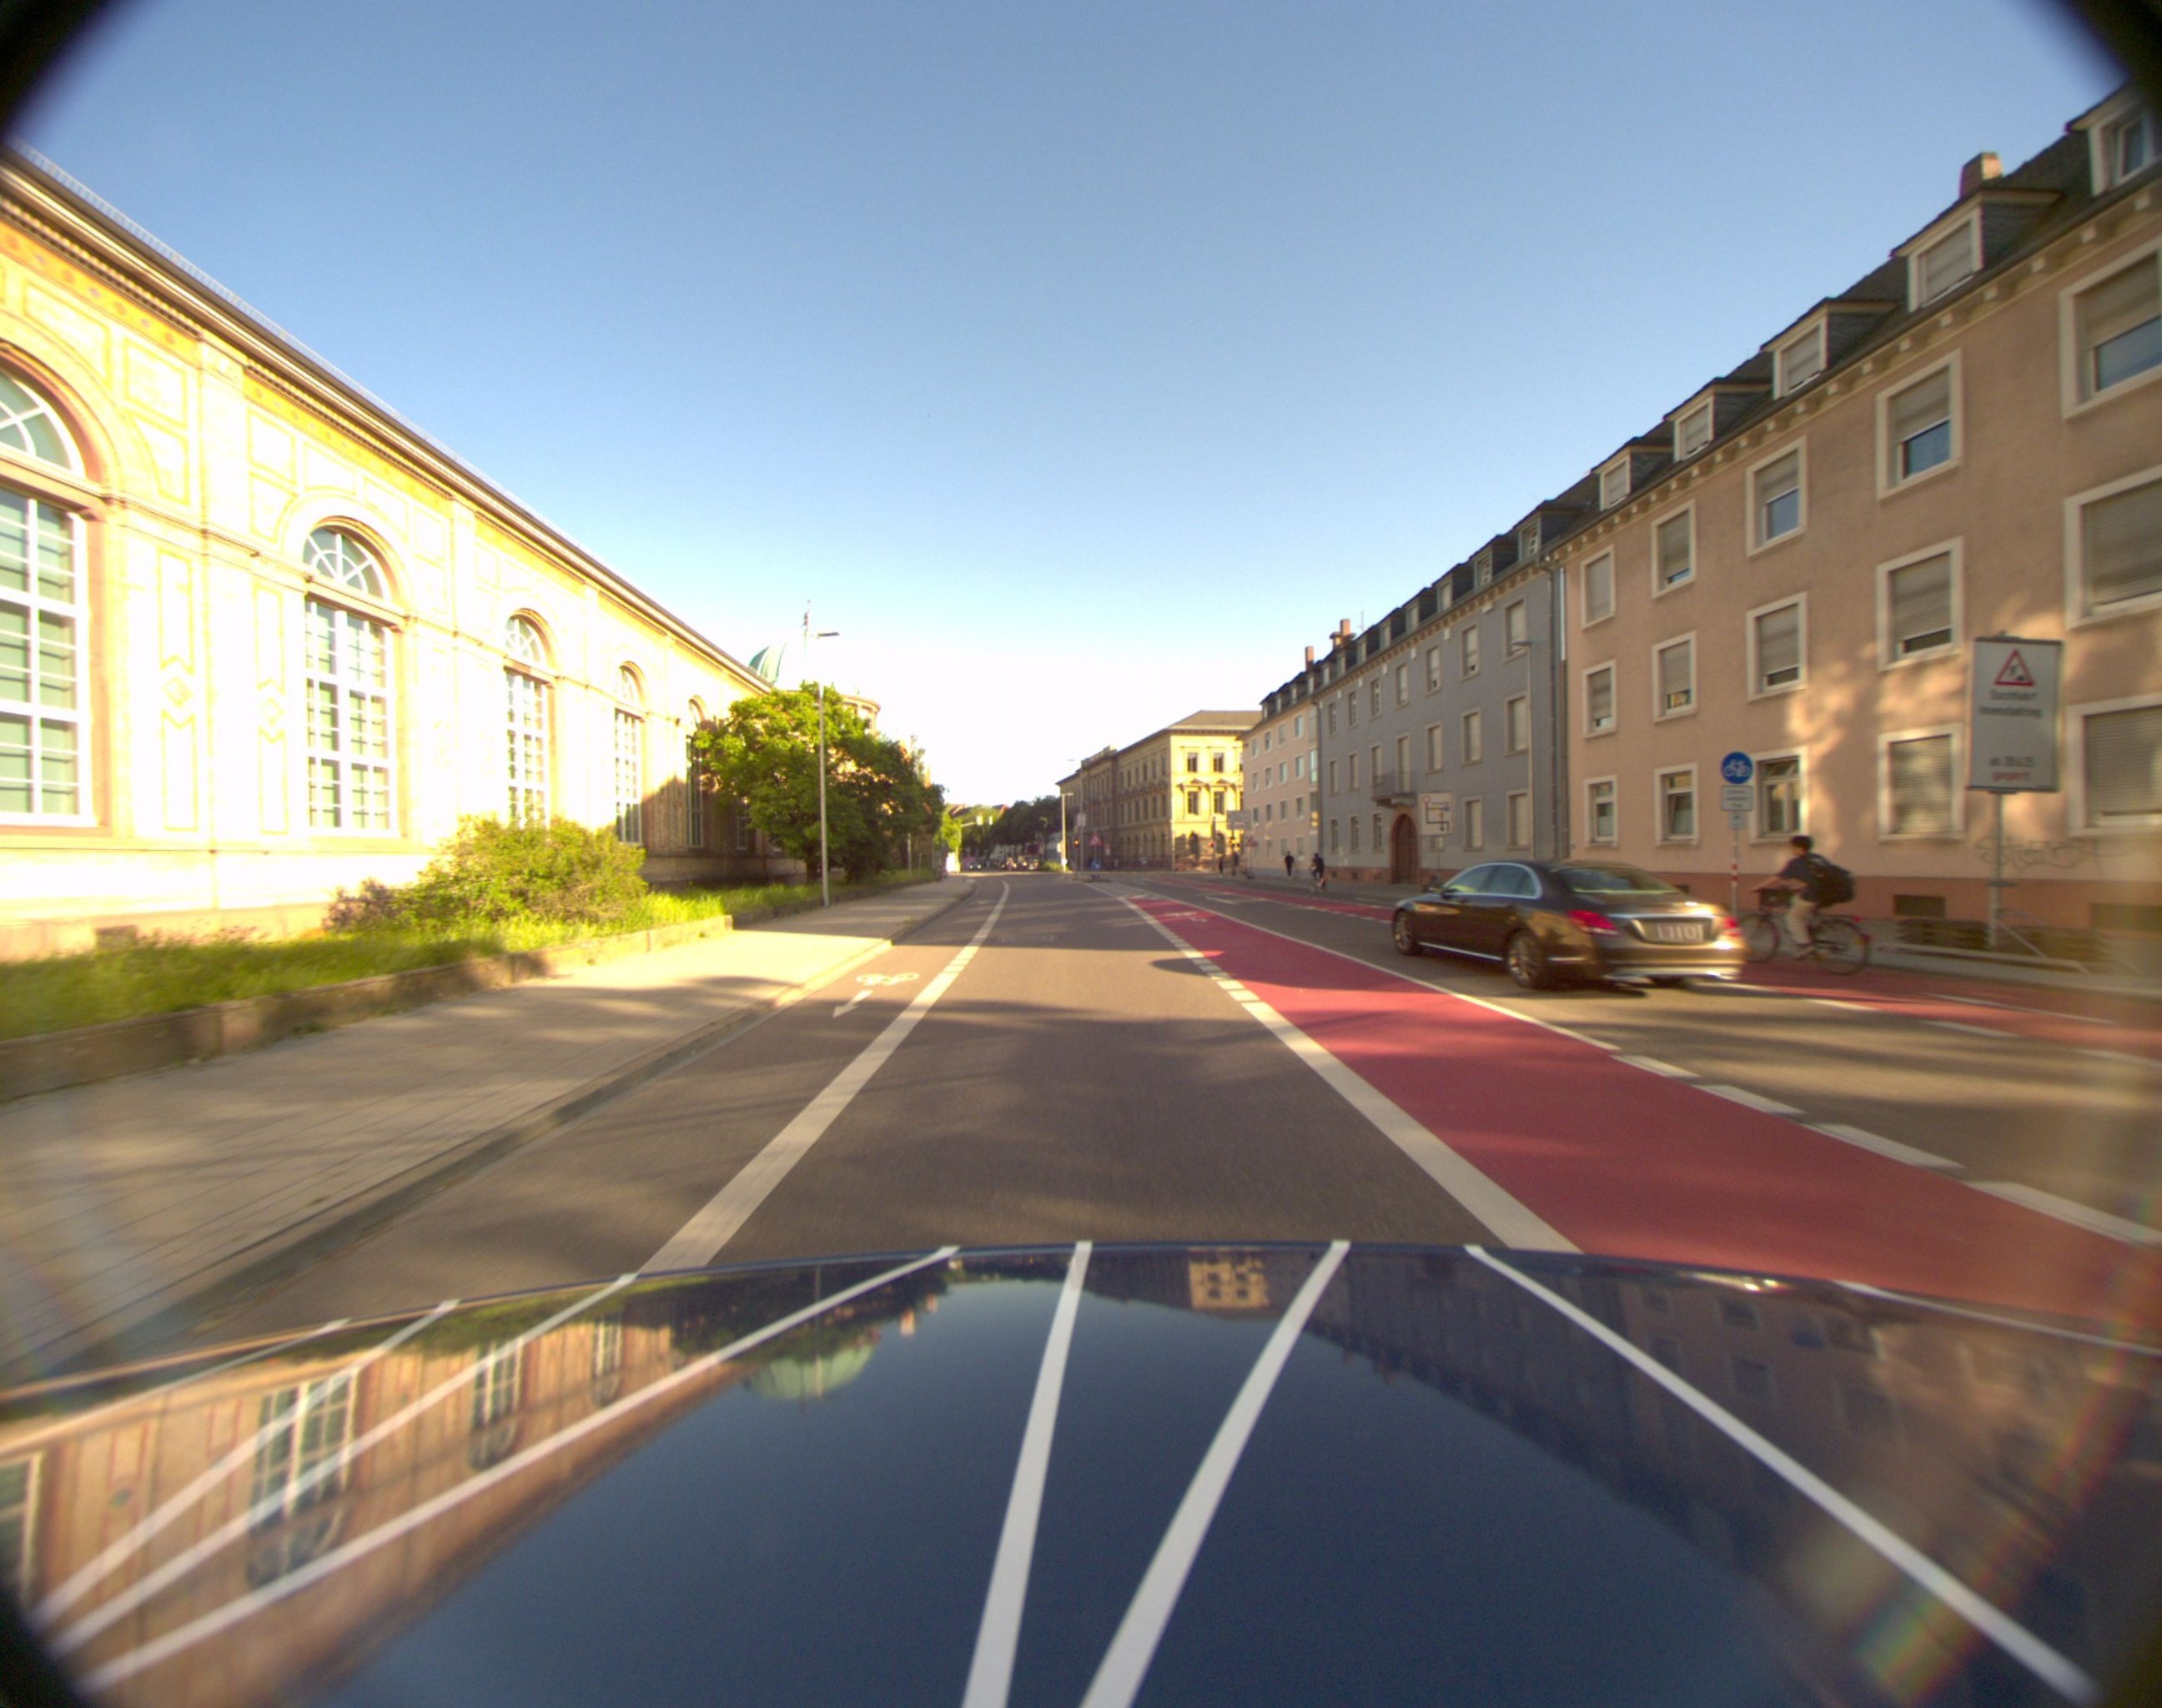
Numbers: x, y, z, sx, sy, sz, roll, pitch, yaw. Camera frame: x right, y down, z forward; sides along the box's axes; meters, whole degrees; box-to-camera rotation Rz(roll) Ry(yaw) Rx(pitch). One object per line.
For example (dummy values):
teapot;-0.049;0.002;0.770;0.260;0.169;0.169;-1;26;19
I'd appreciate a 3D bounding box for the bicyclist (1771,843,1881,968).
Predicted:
bicyclist;9.214;0.620;9.417;0.658;1.476;0.665;2;0;-2

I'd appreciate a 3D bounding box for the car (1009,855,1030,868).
car;-8.419;0.966;103.718;1.999;1.739;4.741;-1;0;-15

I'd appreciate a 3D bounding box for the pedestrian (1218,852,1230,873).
pedestrian;11.104;0.650;58.978;0.633;1.574;0.818;-4;1;-4

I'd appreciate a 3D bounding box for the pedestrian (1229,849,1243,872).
pedestrian;12.834;0.516;62.869;0.870;1.852;1.014;-3;0;-3

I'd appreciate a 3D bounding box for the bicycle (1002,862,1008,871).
bicycle;-10.206;1.673;101.697;0.671;1.066;1.751;-2;0;-11

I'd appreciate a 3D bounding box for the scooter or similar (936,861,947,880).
scooter or similar;-9.633;1.117;52.502;0.557;1.301;1.831;-1;0;-5

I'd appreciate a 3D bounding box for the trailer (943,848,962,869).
trailer;-15.574;0.549;91.790;2.087;2.513;4.487;1;0;-11

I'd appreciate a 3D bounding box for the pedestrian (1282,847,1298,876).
pedestrian;13.962;0.487;50.674;0.633;1.836;1.012;-4;1;-4

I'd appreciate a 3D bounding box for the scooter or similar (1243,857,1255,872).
scooter or similar;13.437;0.829;60.797;0.535;1.178;1.473;-2;0;-3

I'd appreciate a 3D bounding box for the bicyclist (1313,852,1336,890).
bicyclist;10.892;0.754;34.016;0.638;1.700;0.737;2;0;-17

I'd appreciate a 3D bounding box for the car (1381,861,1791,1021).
car;5.529;0.811;9.220;1.816;1.411;4.553;-1;0;-3

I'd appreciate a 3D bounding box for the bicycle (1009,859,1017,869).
bicycle;-8.239;1.228;91.788;0.831;1.136;1.968;-2;0;-10

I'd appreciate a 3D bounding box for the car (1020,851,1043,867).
car;-6.191;0.646;93.966;2.075;1.904;5.027;-1;1;-13

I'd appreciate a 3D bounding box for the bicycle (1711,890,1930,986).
bicycle;9.197;0.998;9.604;0.653;0.990;2.109;1;0;-2

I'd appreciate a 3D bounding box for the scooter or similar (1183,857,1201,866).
scooter or similar;12.711;0.879;87.052;2.033;1.046;0.456;-1;0;-8

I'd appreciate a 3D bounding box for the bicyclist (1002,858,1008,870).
bicyclist;-10.223;1.339;101.726;0.675;1.643;0.886;-2;1;-12

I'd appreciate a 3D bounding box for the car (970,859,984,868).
car;-15.755;1.396;115.290;1.555;1.288;3.633;2;0;-15

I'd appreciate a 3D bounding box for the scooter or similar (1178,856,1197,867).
scooter or similar;12.070;0.838;86.259;2.029;1.181;0.456;-1;0;17

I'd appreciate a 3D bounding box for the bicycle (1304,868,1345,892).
bicycle;10.885;1.155;34.061;0.649;0.990;2.106;1;0;-18

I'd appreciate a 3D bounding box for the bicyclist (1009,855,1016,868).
bicyclist;-8.265;0.892;92.007;0.805;1.599;0.824;-1;0;-10
